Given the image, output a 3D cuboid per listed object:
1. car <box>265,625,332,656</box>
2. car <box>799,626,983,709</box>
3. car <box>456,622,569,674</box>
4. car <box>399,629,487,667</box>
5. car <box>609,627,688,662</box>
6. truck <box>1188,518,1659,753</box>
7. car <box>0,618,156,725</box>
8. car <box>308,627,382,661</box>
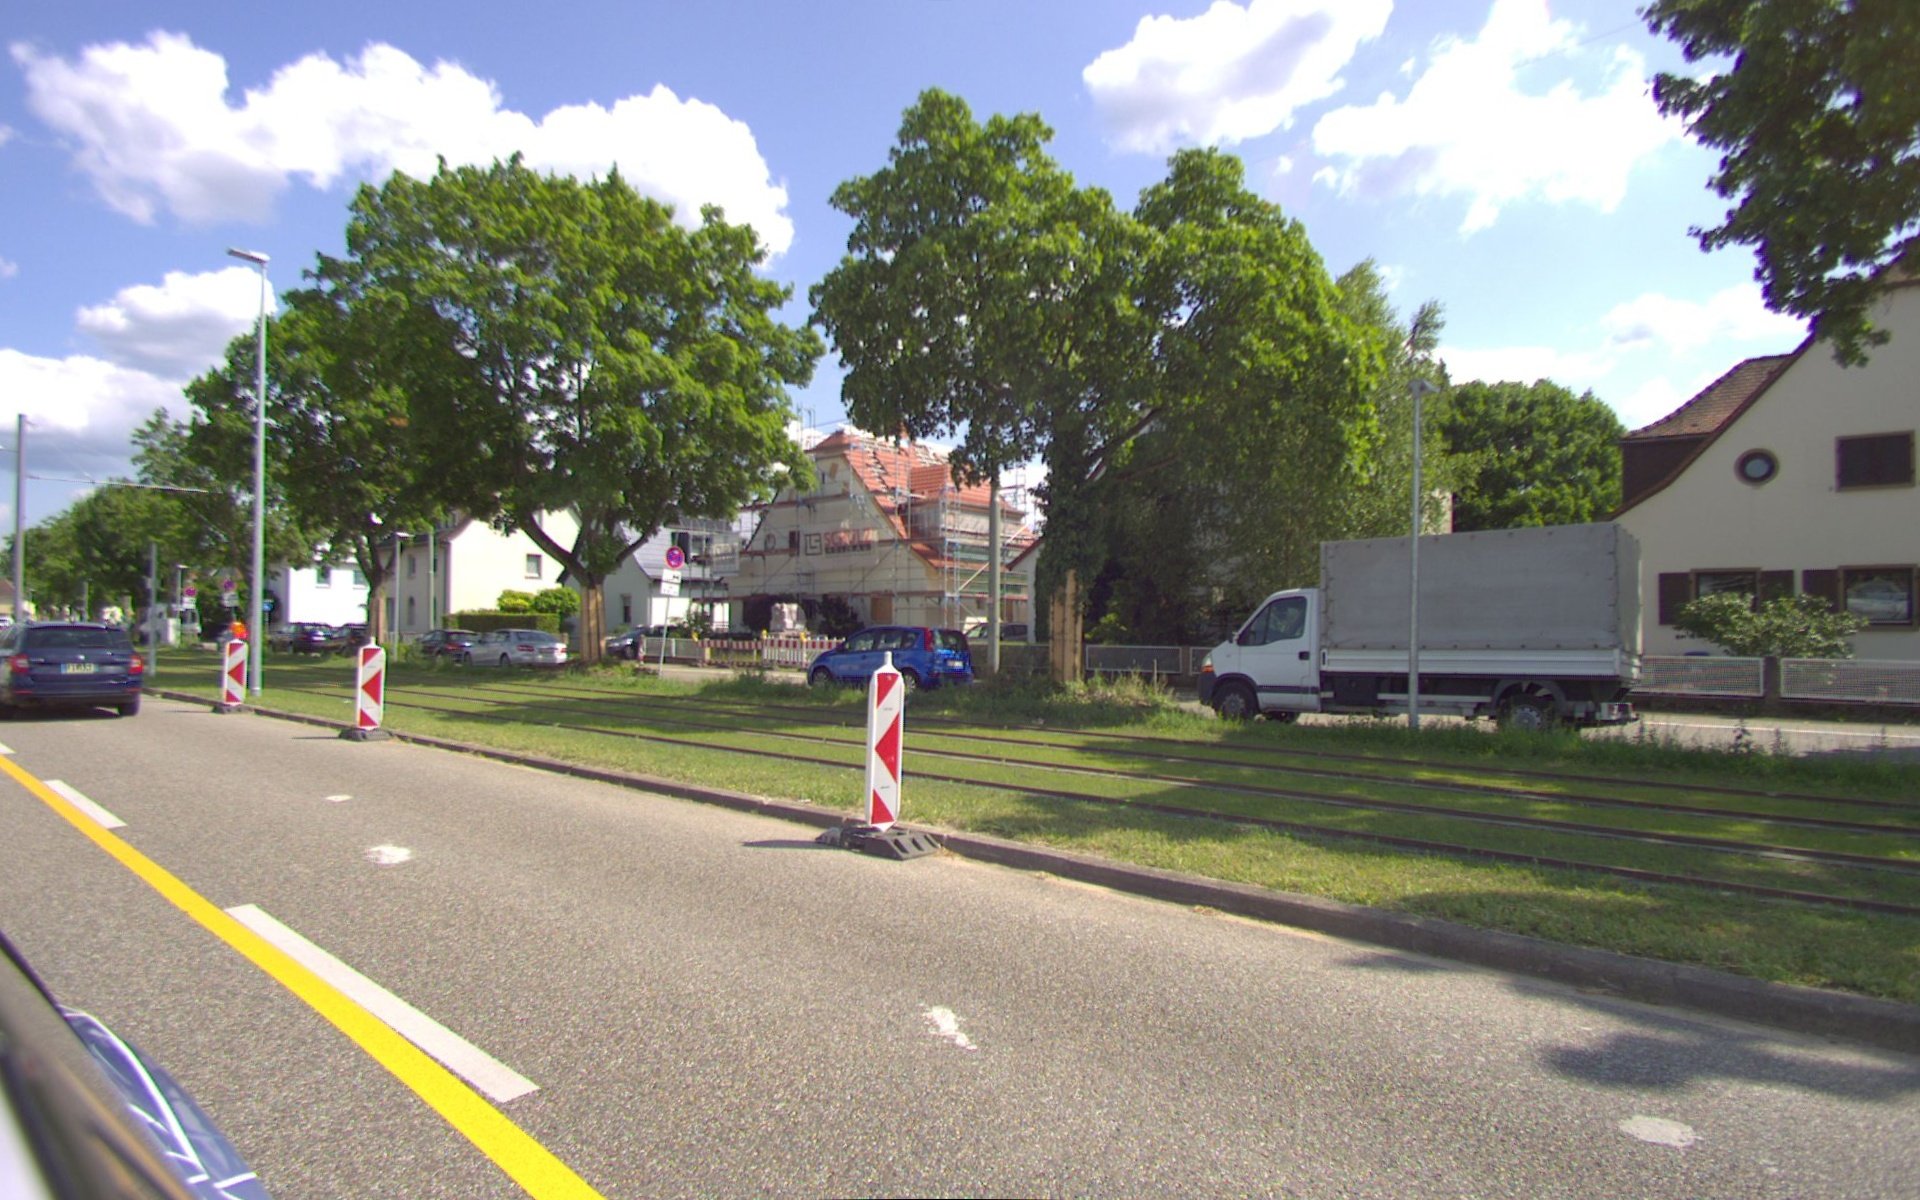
[{"bbox_3d":[-31.111,1.896,47.572,3.998,1.311,1.615,0,0,41],"label":"car"},{"bbox_3d":[-1.541,1.375,21.774,3.929,1.524,1.651,0,0,41],"label":"car"},{"bbox_3d":[-14.848,1.526,33.485,4.522,1.524,1.685,0,0,41],"label":"car"},{"bbox_3d":[-19.132,1.740,37.389,3.785,1.251,1.604,0,0,41],"label":"car"},{"bbox_3d":[-13.503,1.894,43.807,3.190,1.393,1.492,-1,0,-19],"label":"car"},{"bbox_3d":[6.634,0.442,15.046,5.949,2.826,2.340,-1,0,41],"label":"truck"},{"bbox_3d":[-14.615,1.074,16.264,4.532,1.498,1.694,-1,-3,39],"label":"car"},{"bbox_3d":[-26.570,1.858,43.656,3.998,1.311,1.615,0,0,41],"label":"car"}]
